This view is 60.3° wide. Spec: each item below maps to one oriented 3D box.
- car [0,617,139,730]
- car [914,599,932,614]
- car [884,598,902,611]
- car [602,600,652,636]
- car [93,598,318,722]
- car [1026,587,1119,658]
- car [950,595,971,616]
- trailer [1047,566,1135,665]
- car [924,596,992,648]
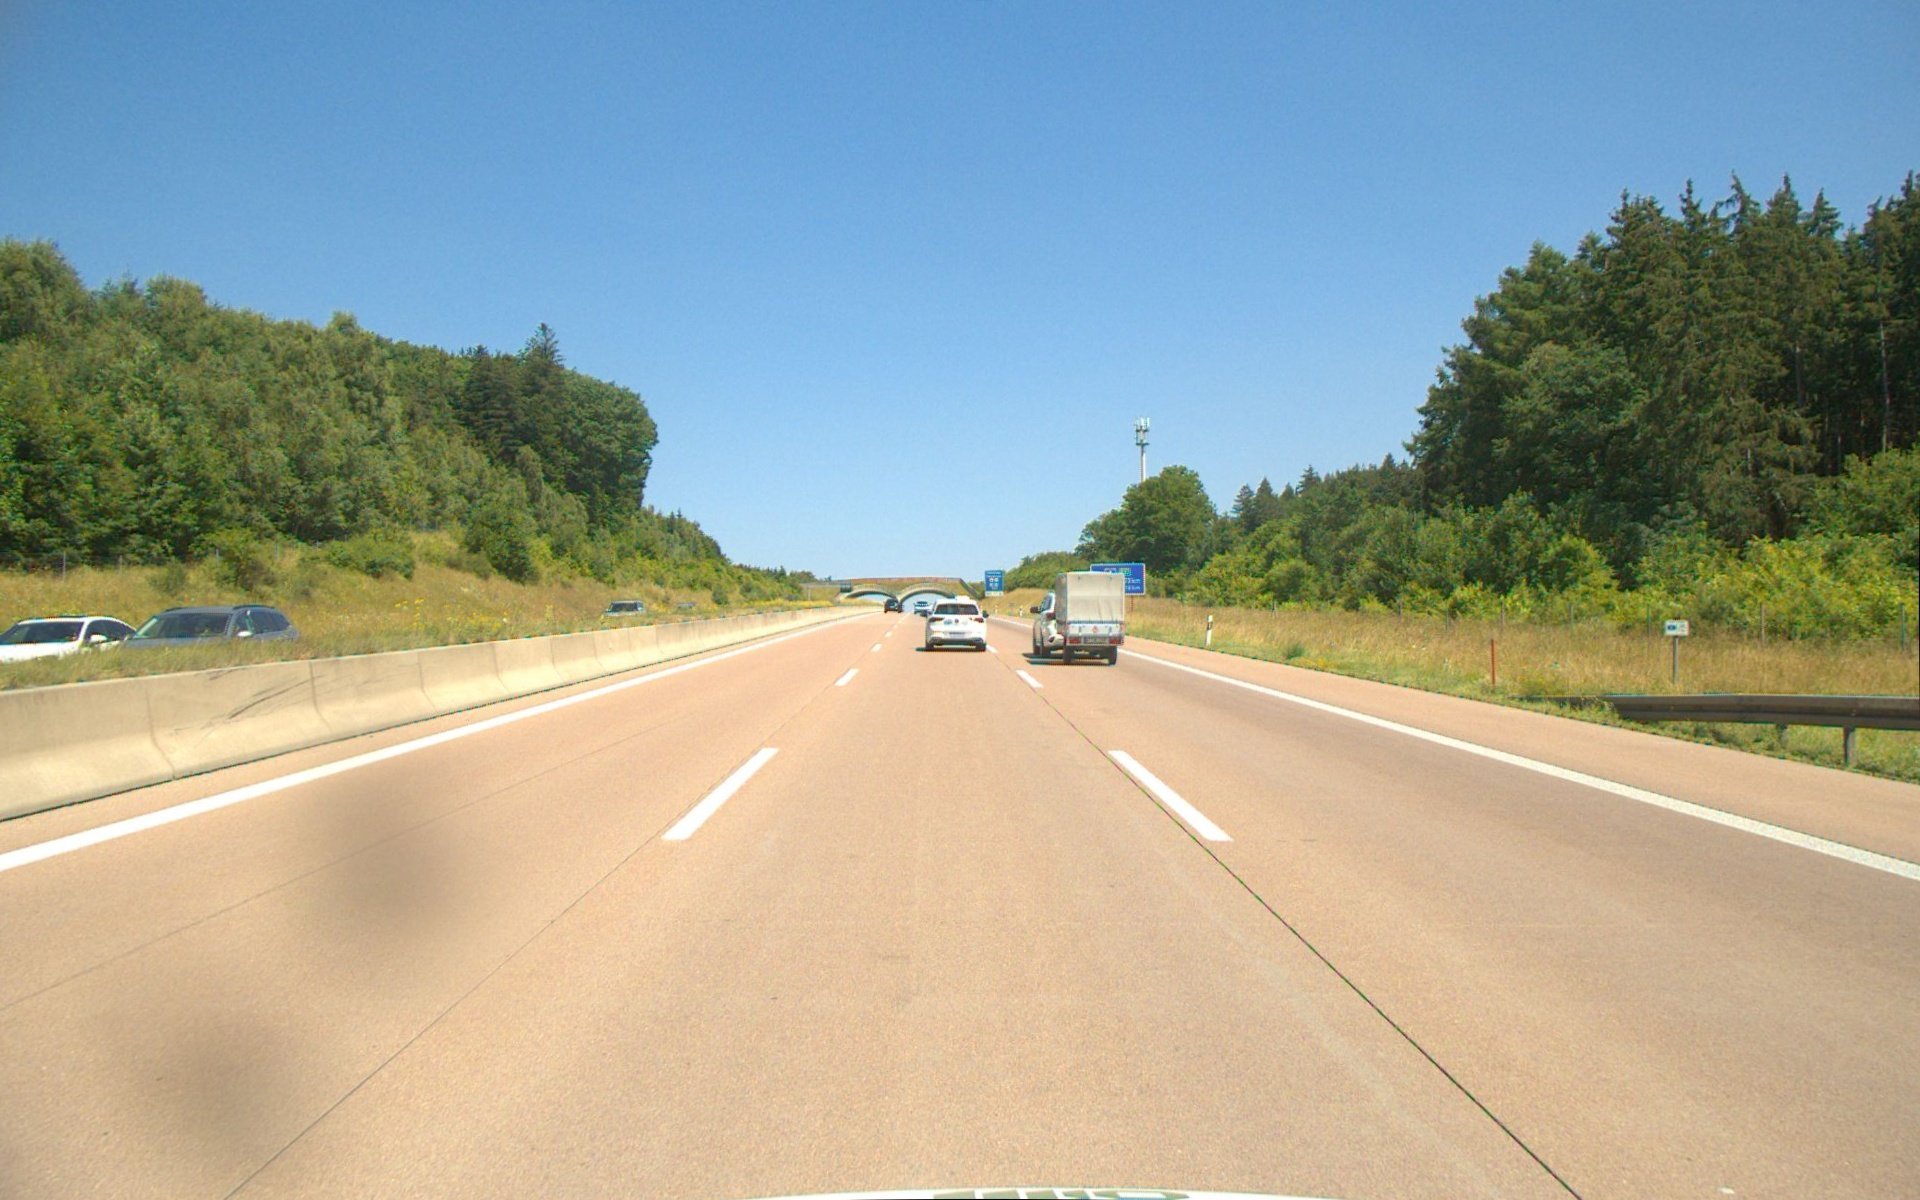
[{"bbox_3d":[-15.469,1.131,27.121,1.852,1.621,4.463,0,0,-1],"label":"car"},{"bbox_3d":[-4.004,0.697,179.538,1.852,1.489,3.999,1,0,-1],"label":"car"},{"bbox_3d":[-7.725,0.532,190.847,1.852,1.489,4.000,0,0,1],"label":"car"},{"bbox_3d":[-17.131,0.885,85.234,1.853,1.769,4.461,0,0,-3],"label":"car"},{"bbox_3d":[-11.872,0.874,26.367,1.854,1.769,4.459,0,0,-5],"label":"car"},{"bbox_3d":[2.894,0.557,43.536,1.853,1.758,5.183,0,0,-3],"label":"car"},{"bbox_3d":[0.064,0.554,166.412,2.067,2.090,4.000,0,0,1],"label":"car"},{"bbox_3d":[3.039,0.362,38.974,1.624,2.202,4.014,0,0,-2],"label":"trailer"},{"bbox_3d":[-0.098,0.607,47.617,1.852,1.422,3.999,1,0,-2],"label":"car"}]
